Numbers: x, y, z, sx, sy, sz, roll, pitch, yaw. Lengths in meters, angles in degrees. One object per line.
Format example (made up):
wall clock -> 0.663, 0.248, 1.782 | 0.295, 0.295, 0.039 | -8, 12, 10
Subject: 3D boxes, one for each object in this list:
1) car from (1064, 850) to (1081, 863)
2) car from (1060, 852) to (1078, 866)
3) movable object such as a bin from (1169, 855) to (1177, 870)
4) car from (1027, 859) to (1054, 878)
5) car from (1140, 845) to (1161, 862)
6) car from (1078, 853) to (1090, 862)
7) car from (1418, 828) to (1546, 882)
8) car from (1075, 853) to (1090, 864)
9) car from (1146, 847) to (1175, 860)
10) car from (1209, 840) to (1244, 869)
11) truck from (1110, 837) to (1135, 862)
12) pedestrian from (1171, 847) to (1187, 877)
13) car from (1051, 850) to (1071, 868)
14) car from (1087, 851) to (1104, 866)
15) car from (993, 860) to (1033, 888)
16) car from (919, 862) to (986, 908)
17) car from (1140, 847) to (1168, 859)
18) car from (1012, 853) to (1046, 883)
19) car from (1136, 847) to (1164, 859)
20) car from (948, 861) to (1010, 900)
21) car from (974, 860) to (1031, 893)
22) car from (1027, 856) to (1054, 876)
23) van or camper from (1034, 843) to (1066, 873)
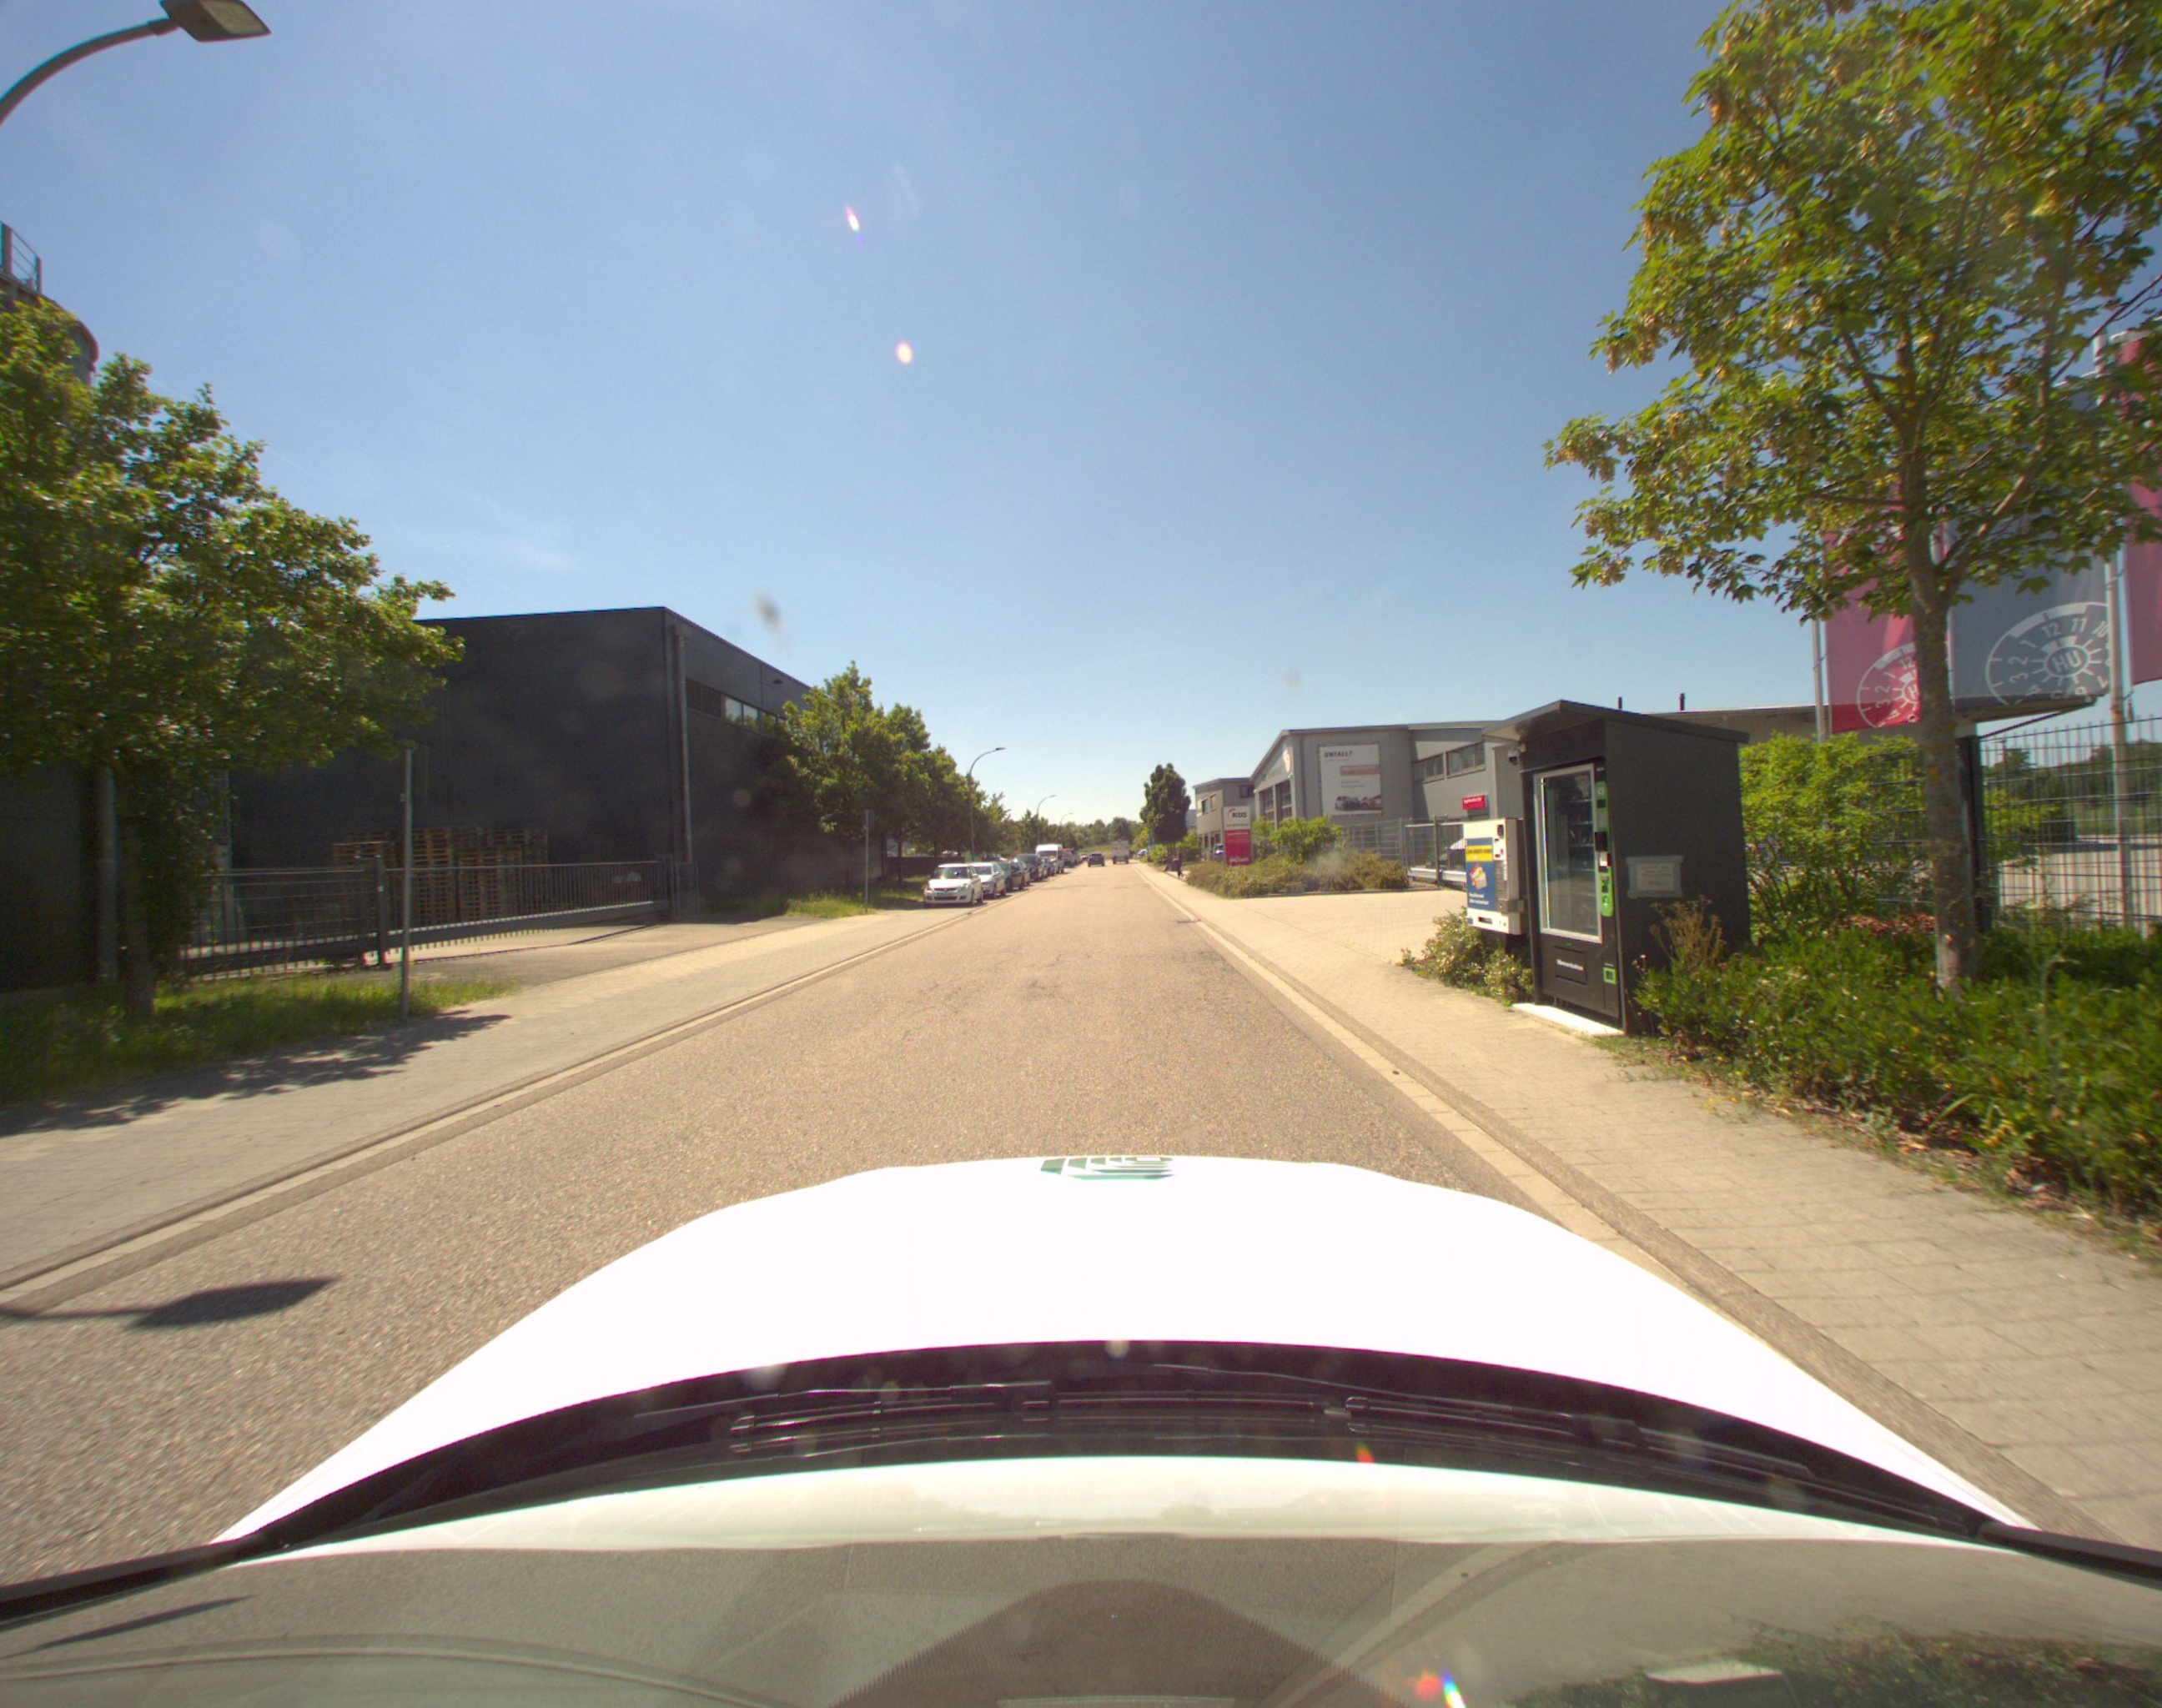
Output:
car -> -1.098, 0.270, 103.281 | 1.791, 1.487, 4.257 | -2, 0, 4
car -> -1.389, 0.587, 97.872 | 1.791, 1.487, 4.257 | -2, 0, 4
movable object such as a bin -> 6.575, 0.601, 58.144 | 0.529, 1.052, 0.846 | -3, -1, 4
car -> -2.932, 1.050, 59.892 | 1.471, 1.297, 3.903 | -2, 0, 4
car -> 8.066, -0.088, 94.836 | 1.987, 1.803, 4.139 | -3, 0, 0
car -> 0.526, 0.670, 147.509 | 1.791, 1.487, 4.257 | -2, 0, 4
car -> 13.931, 0.048, 28.447 | 3.598, 1.677, 1.703 | -3, 0, 1
car -> 0.242, 0.633, 112.985 | 1.791, 1.487, 4.257 | -2, 0, 4
car -> 11.113, -0.118, 114.187 | 3.863, 1.750, 1.751 | 0, 0, -1
car -> 9.867, 0.035, 55.457 | 1.777, 1.783, 4.911 | -4, -1, 5
truck -> 5.142, -0.532, 101.412 | 2.921, 2.974, 6.423 | 0, 0, 3
pedestrian -> 5.516, 0.469, 45.679 | 0.501, 1.613, 0.710 | -6, 0, -15
car -> -2.170, 0.505, 89.964 | 1.791, 1.848, 4.257 | -2, 0, 4
car -> 1.630, 0.530, 90.502 | 1.782, 1.623, 3.811 | 0, 0, 2
car -> -3.851, 1.105, 46.785 | 1.792, 1.476, 4.590 | -2, 0, 2
car -> -4.532, 1.058, 29.207 | 1.715, 1.476, 3.857 | -2, 0, 0
car -> 10.419, -0.108, 116.494 | 3.863, 1.750, 1.751 | 0, 0, -1
car -> -3.339, 0.862, 53.134 | 1.792, 1.814, 4.254 | -2, 0, 2
car -> 10.067, -0.100, 119.054 | 3.863, 1.750, 1.751 | 0, 0, -1
car -> -4.255, 1.070, 34.516 | 1.792, 1.476, 4.558 | -2, 0, 3
car -> -3.886, 1.082, 40.892 | 1.789, 1.476, 4.647 | -2, 0, 8
car -> -3.129, 0.897, 63.610 | 1.792, 1.449, 4.254 | -2, 0, 2
van or camper -> -2.597, 0.322, 70.085 | 2.069, 2.483, 6.138 | 0, 0, 5
